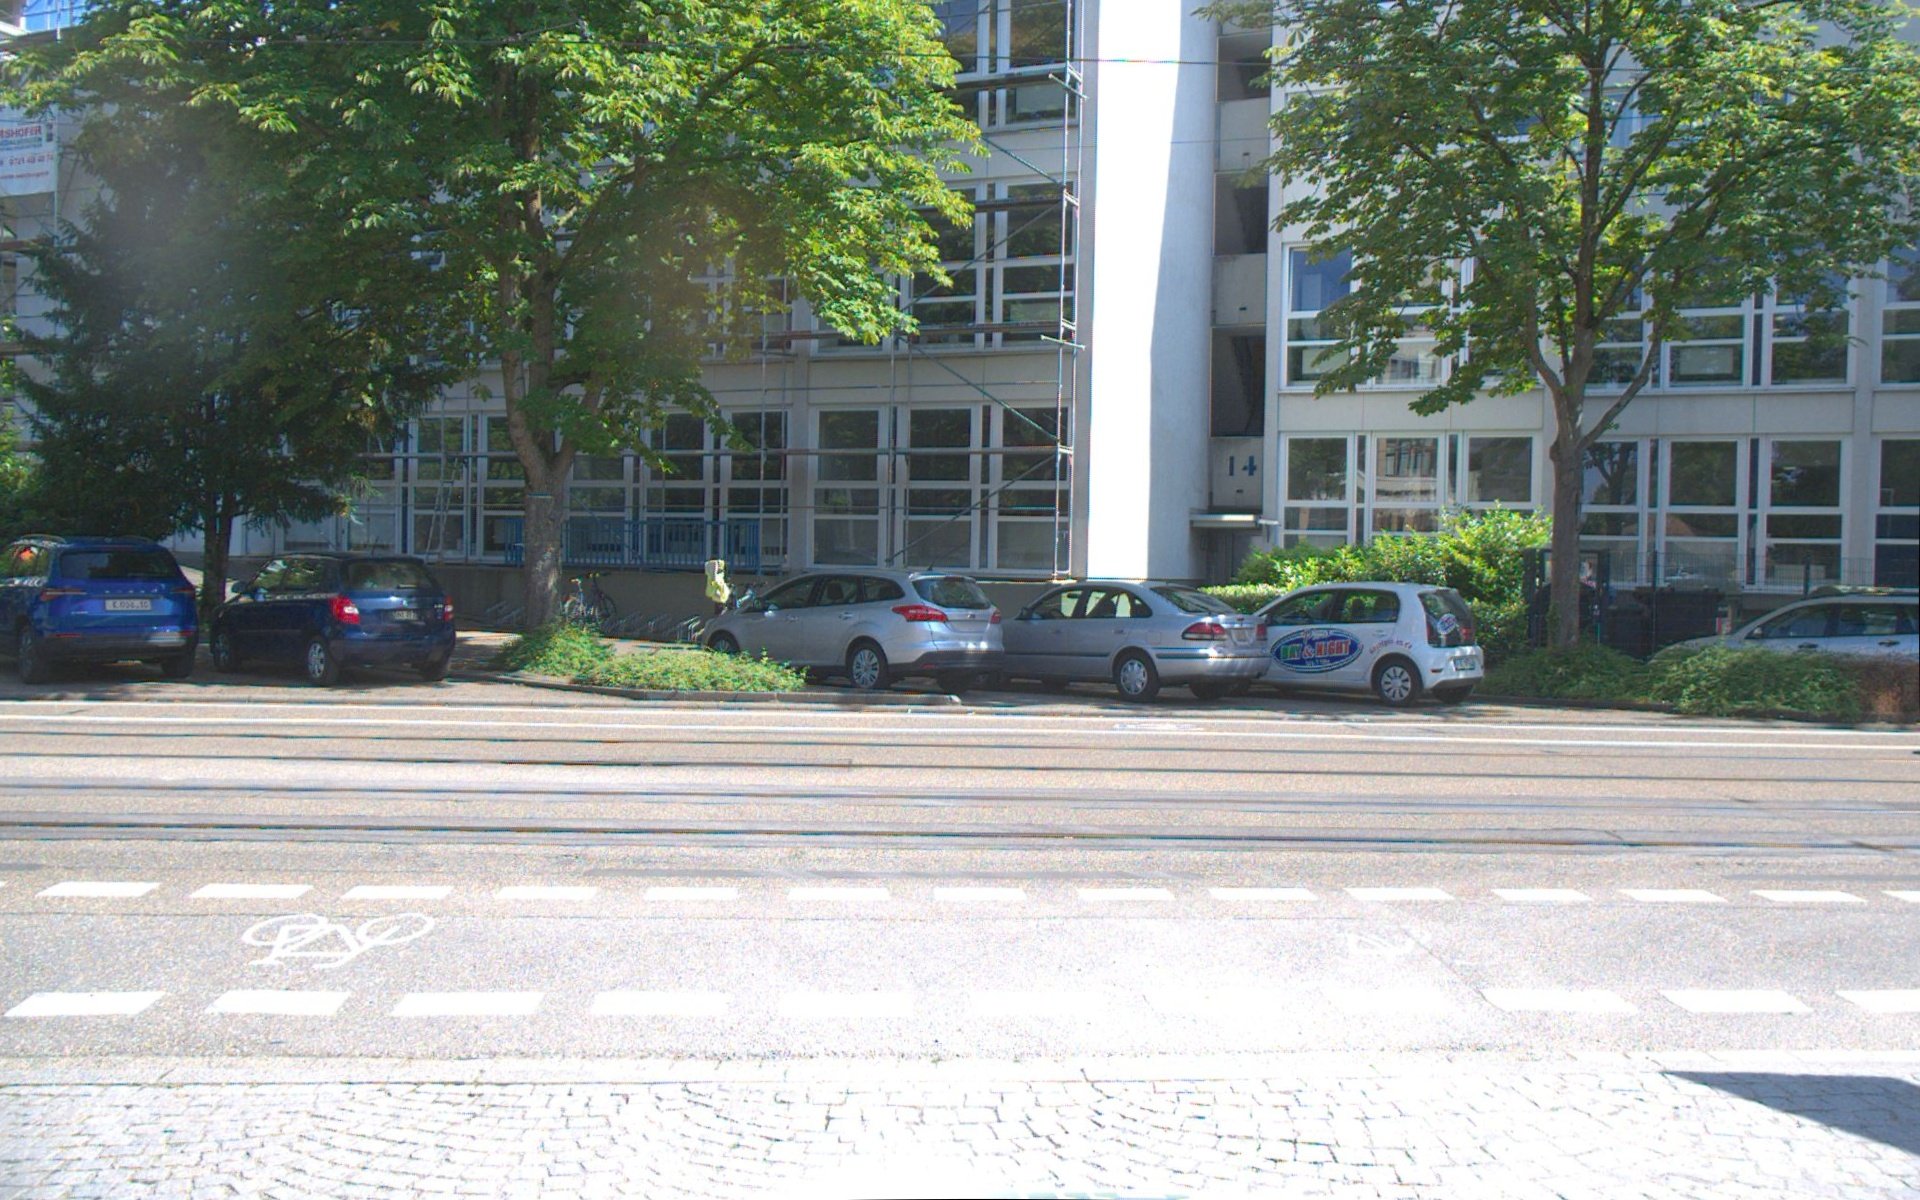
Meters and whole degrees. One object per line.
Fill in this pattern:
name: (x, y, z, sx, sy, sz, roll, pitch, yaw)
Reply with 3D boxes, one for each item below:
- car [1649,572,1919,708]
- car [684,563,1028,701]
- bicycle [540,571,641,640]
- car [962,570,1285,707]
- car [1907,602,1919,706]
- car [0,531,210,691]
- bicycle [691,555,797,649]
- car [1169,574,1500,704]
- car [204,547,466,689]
car: (11.385, 0.487, 21.455, 4.262, 1.632, 1.551, 1, 0, 39)
car: (-1.389, 0.324, 20.768, 4.356, 1.512, 1.774, 2, 1, 42)
bicycle: (-6.219, 0.068, 27.941, 0.725, 1.105, 2.205, 1, 1, 15)
car: (1.970, 0.410, 20.715, 3.878, 1.512, 1.602, 2, 1, 44)
car: (14.627, 0.766, 21.411, 3.874, 1.381, 1.549, 2, 1, 42)
car: (-10.563, 0.040, 19.741, 1.767, 1.650, 3.882, -1, 4, -44)
bicycle: (-3.520, 0.019, 27.197, 0.648, 1.479, 2.088, 1, 1, 27)
car: (4.711, 0.436, 21.115, 3.876, 1.512, 1.603, 0, 1, 43)
car: (-7.577, 0.154, 19.928, 3.396, 1.557, 1.567, 2, 1, 42)
